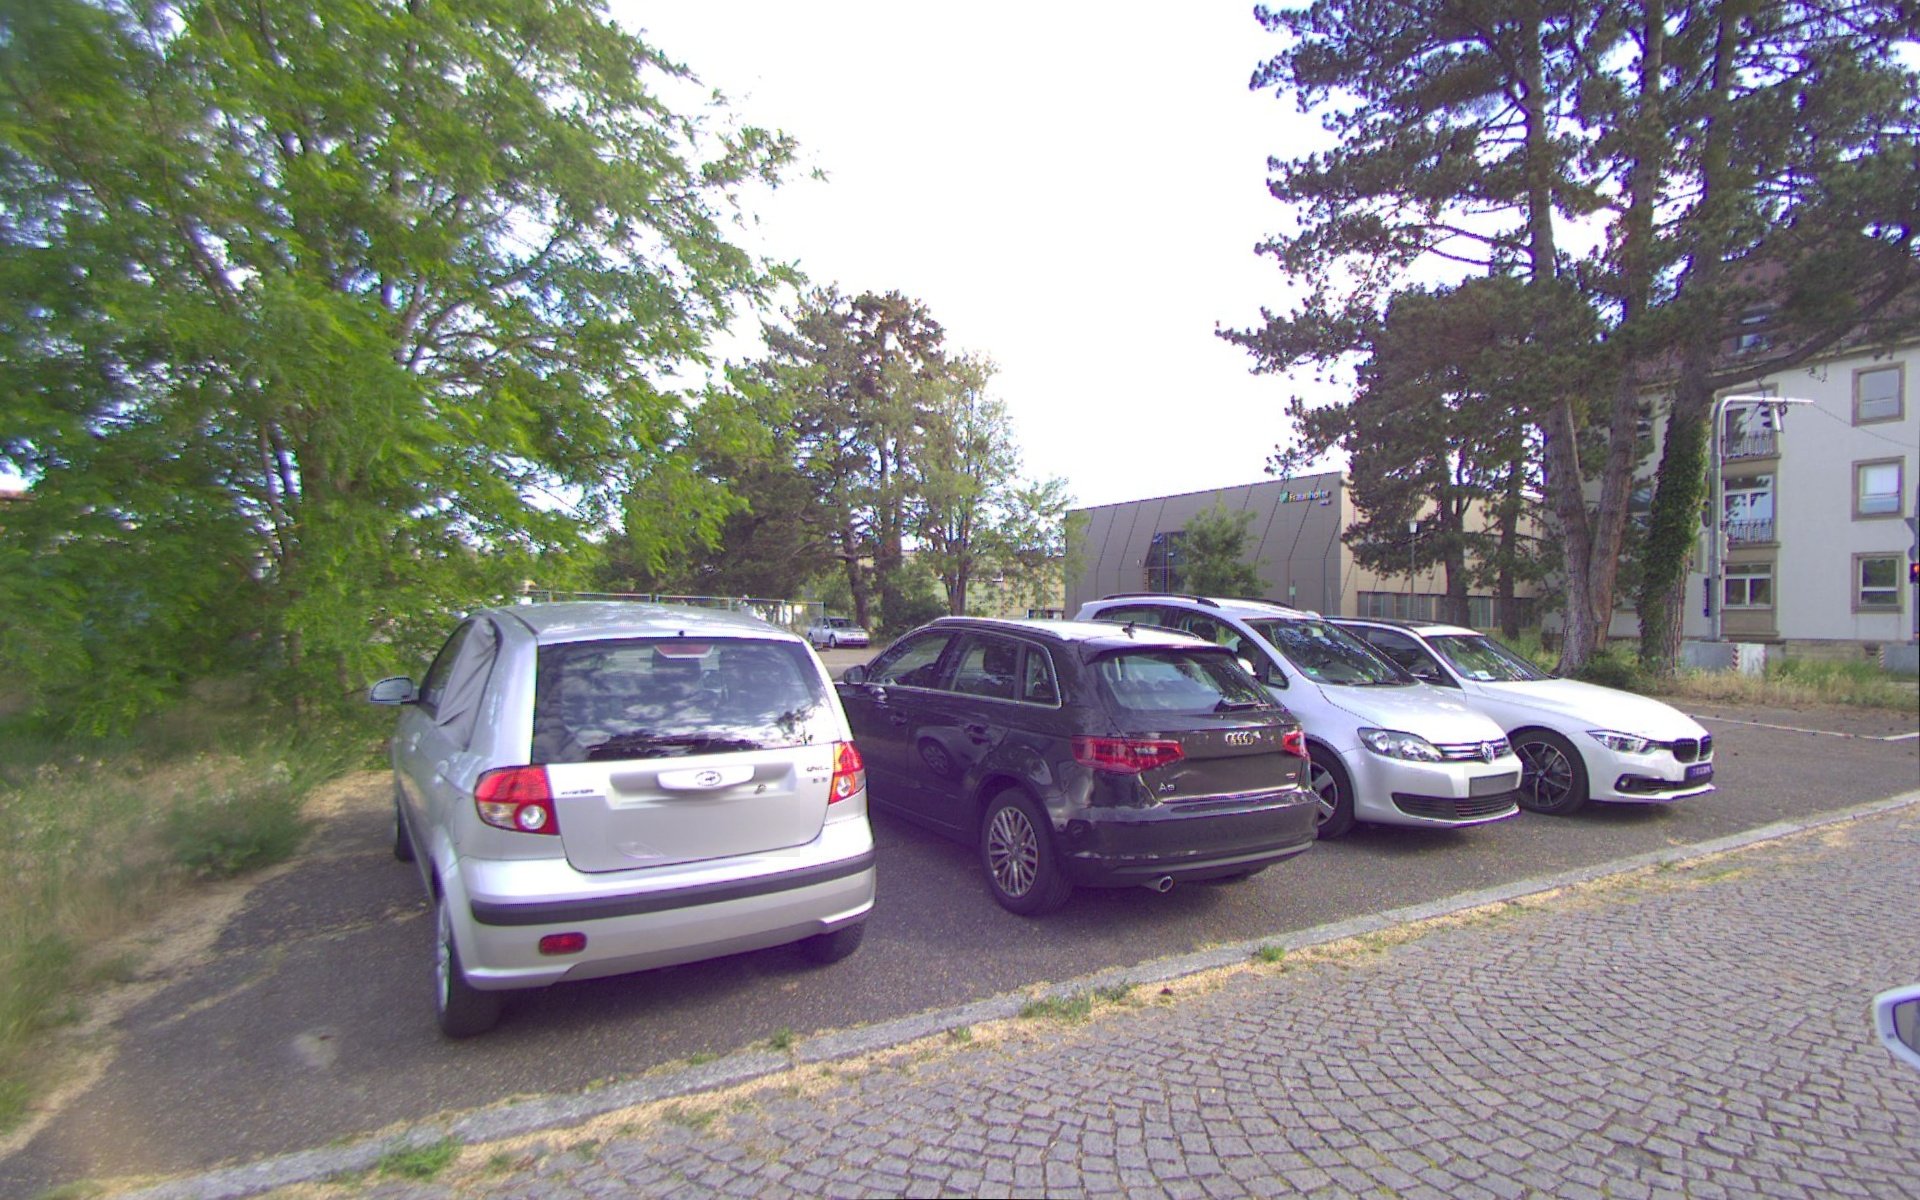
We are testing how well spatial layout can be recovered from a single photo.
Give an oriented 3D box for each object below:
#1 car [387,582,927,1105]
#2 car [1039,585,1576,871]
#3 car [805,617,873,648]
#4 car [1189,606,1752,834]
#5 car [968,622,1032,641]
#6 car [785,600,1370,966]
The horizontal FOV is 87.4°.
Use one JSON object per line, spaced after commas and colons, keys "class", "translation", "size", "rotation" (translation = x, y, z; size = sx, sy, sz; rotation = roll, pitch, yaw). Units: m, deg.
{"class": "car", "translation": [-1.787, 0.727, 4.965], "size": [1.629, 1.495, 3.555], "rotation": [1, 2, -33]}
{"class": "car", "translation": [2.489, 0.758, 8.075], "size": [1.717, 1.629, 3.808], "rotation": [1, 1, -33]}
{"class": "car", "translation": [-5.666, 1.480, 46.597], "size": [1.576, 1.355, 3.706], "rotation": [1, -1, -35]}
{"class": "car", "translation": [4.482, 0.892, 9.575], "size": [1.811, 1.461, 4.450], "rotation": [1, 1, -34]}
{"class": "car", "translation": [2.725, 2.154, 68.648], "size": [4.144, 1.289, 1.599], "rotation": [1, -1, -28]}
{"class": "car", "translation": [0.395, 0.803, 6.381], "size": [1.676, 1.427, 3.815], "rotation": [1, 2, -31]}
